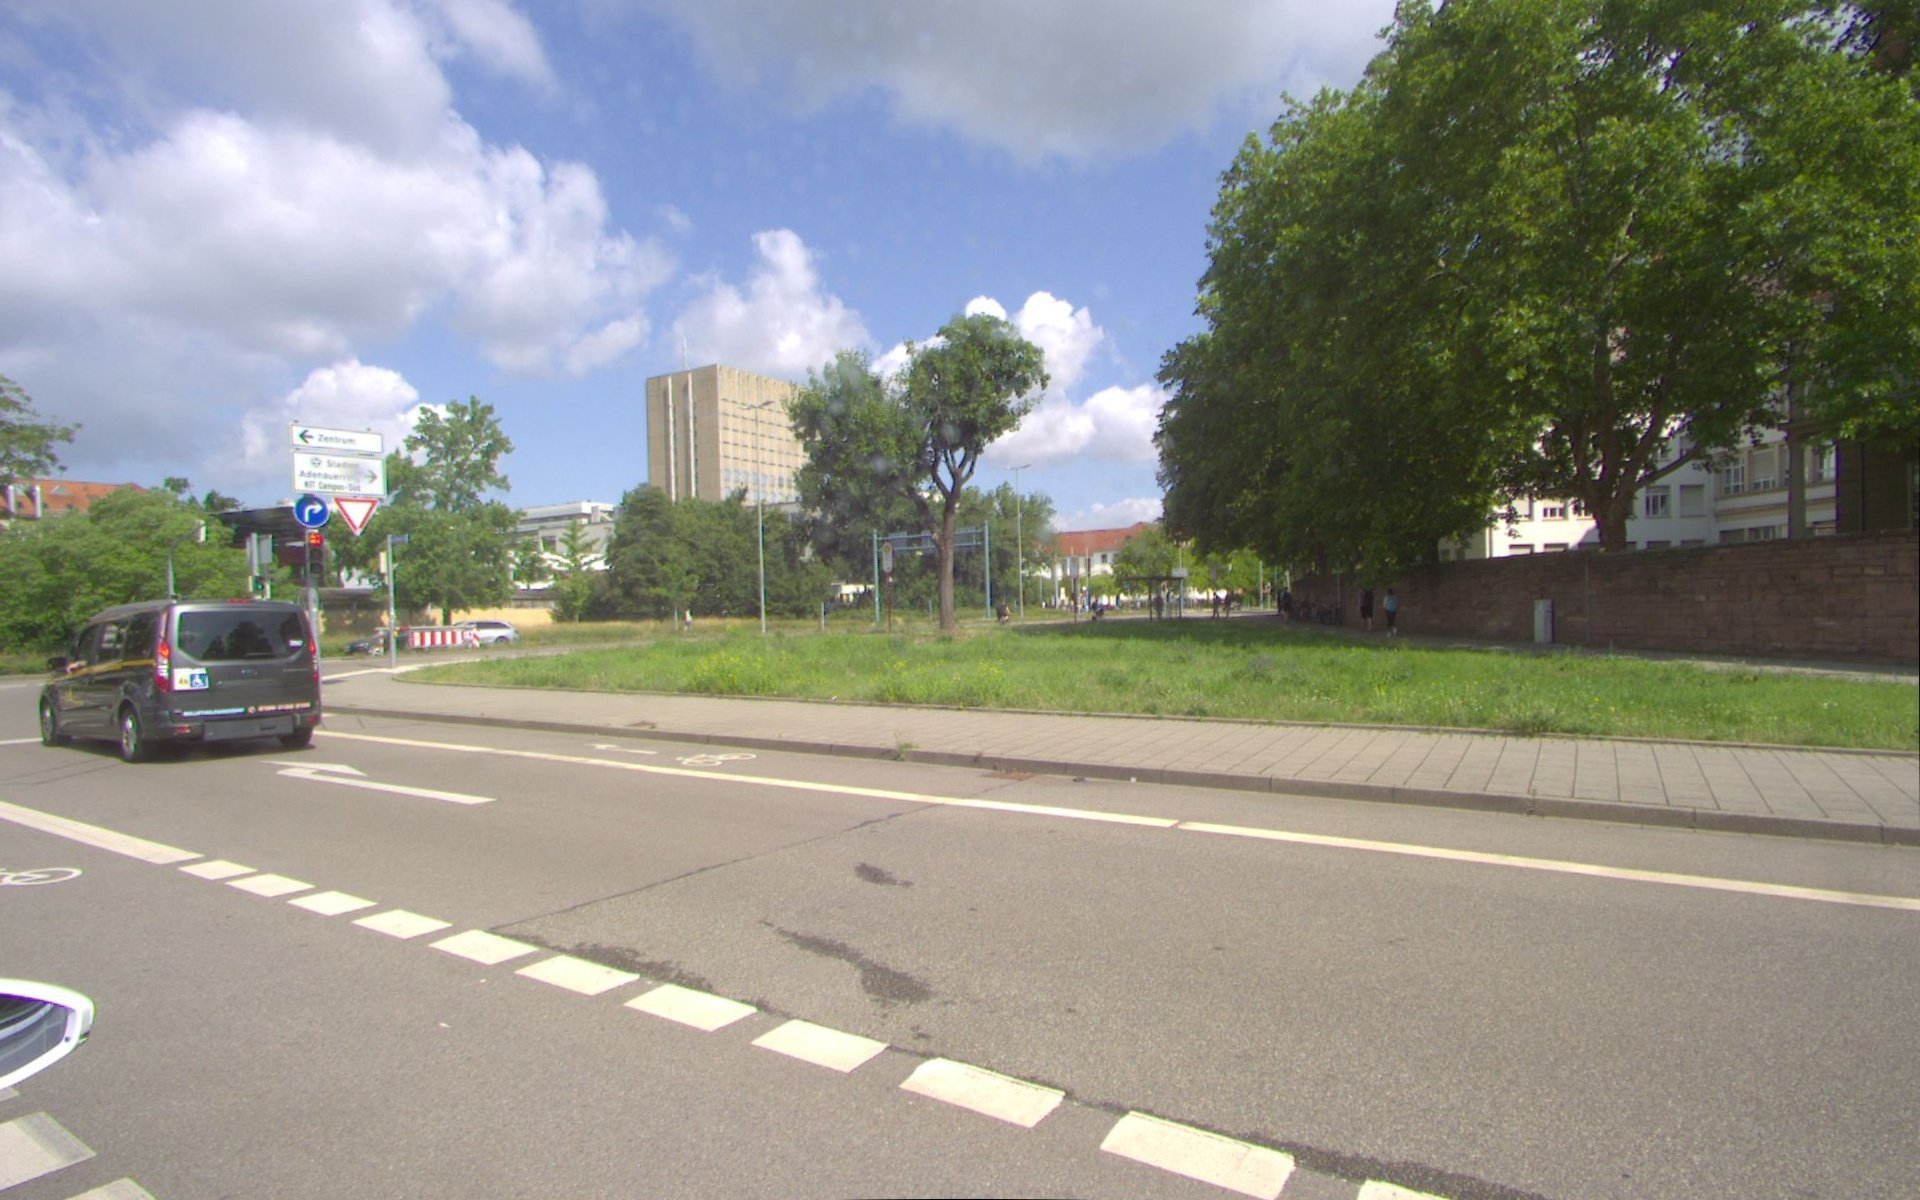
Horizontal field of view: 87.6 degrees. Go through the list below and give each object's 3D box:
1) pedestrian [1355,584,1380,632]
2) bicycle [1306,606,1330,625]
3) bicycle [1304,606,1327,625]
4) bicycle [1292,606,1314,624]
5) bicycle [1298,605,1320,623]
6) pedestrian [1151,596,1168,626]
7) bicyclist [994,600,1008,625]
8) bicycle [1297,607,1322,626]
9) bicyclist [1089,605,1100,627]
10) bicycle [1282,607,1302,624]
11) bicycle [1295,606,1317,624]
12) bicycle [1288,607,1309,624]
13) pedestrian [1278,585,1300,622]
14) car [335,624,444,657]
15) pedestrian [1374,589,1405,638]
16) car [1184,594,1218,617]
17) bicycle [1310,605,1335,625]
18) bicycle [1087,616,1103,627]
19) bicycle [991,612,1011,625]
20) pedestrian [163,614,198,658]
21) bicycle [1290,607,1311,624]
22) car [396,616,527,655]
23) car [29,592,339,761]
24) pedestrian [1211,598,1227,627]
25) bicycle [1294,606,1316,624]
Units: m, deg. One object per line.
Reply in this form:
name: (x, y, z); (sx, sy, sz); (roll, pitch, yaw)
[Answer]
pedestrian: (14.979, 0.300, 36.826); (0.651, 1.746, 0.742); (-1, 1, 5)
bicycle: (16.173, 0.704, 45.247); (0.955, 0.860, 0.482); (-1, 1, 11)
bicycle: (16.283, 0.706, 45.875); (0.955, 0.860, 0.482); (-1, 1, 11)
bicycle: (17.229, 0.758, 50.322); (0.955, 0.860, 0.482); (-1, 1, 11)
bicycle: (16.857, 0.687, 48.376); (0.955, 0.860, 0.482); (-1, 1, 11)
pedestrian: (12.492, 0.699, 62.757); (0.739, 1.803, 0.961); (-2, 0, 31)
bicyclist: (2.375, 0.738, 58.138); (0.552, 1.433, 0.604); (-1, 1, 28)
bicycle: (16.622, 0.781, 47.581); (1.053, 0.860, 0.499); (-1, 1, 11)
bicyclist: (9.184, 1.095, 68.409); (0.552, 1.433, 0.604); (-1, 1, 28)
bicycle: (18.005, 0.837, 54.375); (0.955, 0.860, 0.482); (-1, 1, 11)
bicycle: (16.953, 0.713, 49.109); (0.955, 0.860, 0.482); (-1, 1, 11)
bicycle: (17.423, 0.802, 51.514); (0.955, 0.860, 0.482); (-1, 1, 11)
pedestrian: (16.010, 0.175, 48.790); (0.870, 1.804, 0.770); (-1, 1, 10)
car: (-27.585, 1.913, 48.518); (1.973, 1.395, 4.135); (0, 0, 34)
pedestrian: (14.163, 0.445, 33.047); (0.712, 1.554, 0.724); (-2, 0, 5)
car: (22.856, 0.539, 94.928); (1.972, 2.040, 3.978); (-1, 1, 32)
bicycle: (16.117, 0.659, 44.563); (0.955, 0.860, 0.482); (-1, 1, 11)
bicycle: (9.264, 1.449, 68.549); (0.541, 0.707, 1.584); (-1, 1, 28)
bicycle: (2.414, 1.093, 58.217); (0.541, 0.707, 1.584); (-1, 1, 27)
pedestrian: (-34.616, 1.591, 44.467); (1.161, 1.882, 0.697); (-1, 1, 22)
bicycle: (17.336, 0.782, 50.965); (0.955, 0.860, 0.482); (-1, 1, 11)
car: (-21.938, 1.538, 44.231); (2.037, 1.460, 4.746); (-4, -2, 37)
car: (-9.975, 0.869, 12.758); (4.608, 1.808, 1.844); (-1, -1, 35)
pedestrian: (16.275, 0.787, 62.976); (0.739, 1.803, 0.766); (-2, 0, 33)
bicycle: (17.114, 0.733, 49.653); (0.955, 0.860, 0.482); (-1, 1, 11)
